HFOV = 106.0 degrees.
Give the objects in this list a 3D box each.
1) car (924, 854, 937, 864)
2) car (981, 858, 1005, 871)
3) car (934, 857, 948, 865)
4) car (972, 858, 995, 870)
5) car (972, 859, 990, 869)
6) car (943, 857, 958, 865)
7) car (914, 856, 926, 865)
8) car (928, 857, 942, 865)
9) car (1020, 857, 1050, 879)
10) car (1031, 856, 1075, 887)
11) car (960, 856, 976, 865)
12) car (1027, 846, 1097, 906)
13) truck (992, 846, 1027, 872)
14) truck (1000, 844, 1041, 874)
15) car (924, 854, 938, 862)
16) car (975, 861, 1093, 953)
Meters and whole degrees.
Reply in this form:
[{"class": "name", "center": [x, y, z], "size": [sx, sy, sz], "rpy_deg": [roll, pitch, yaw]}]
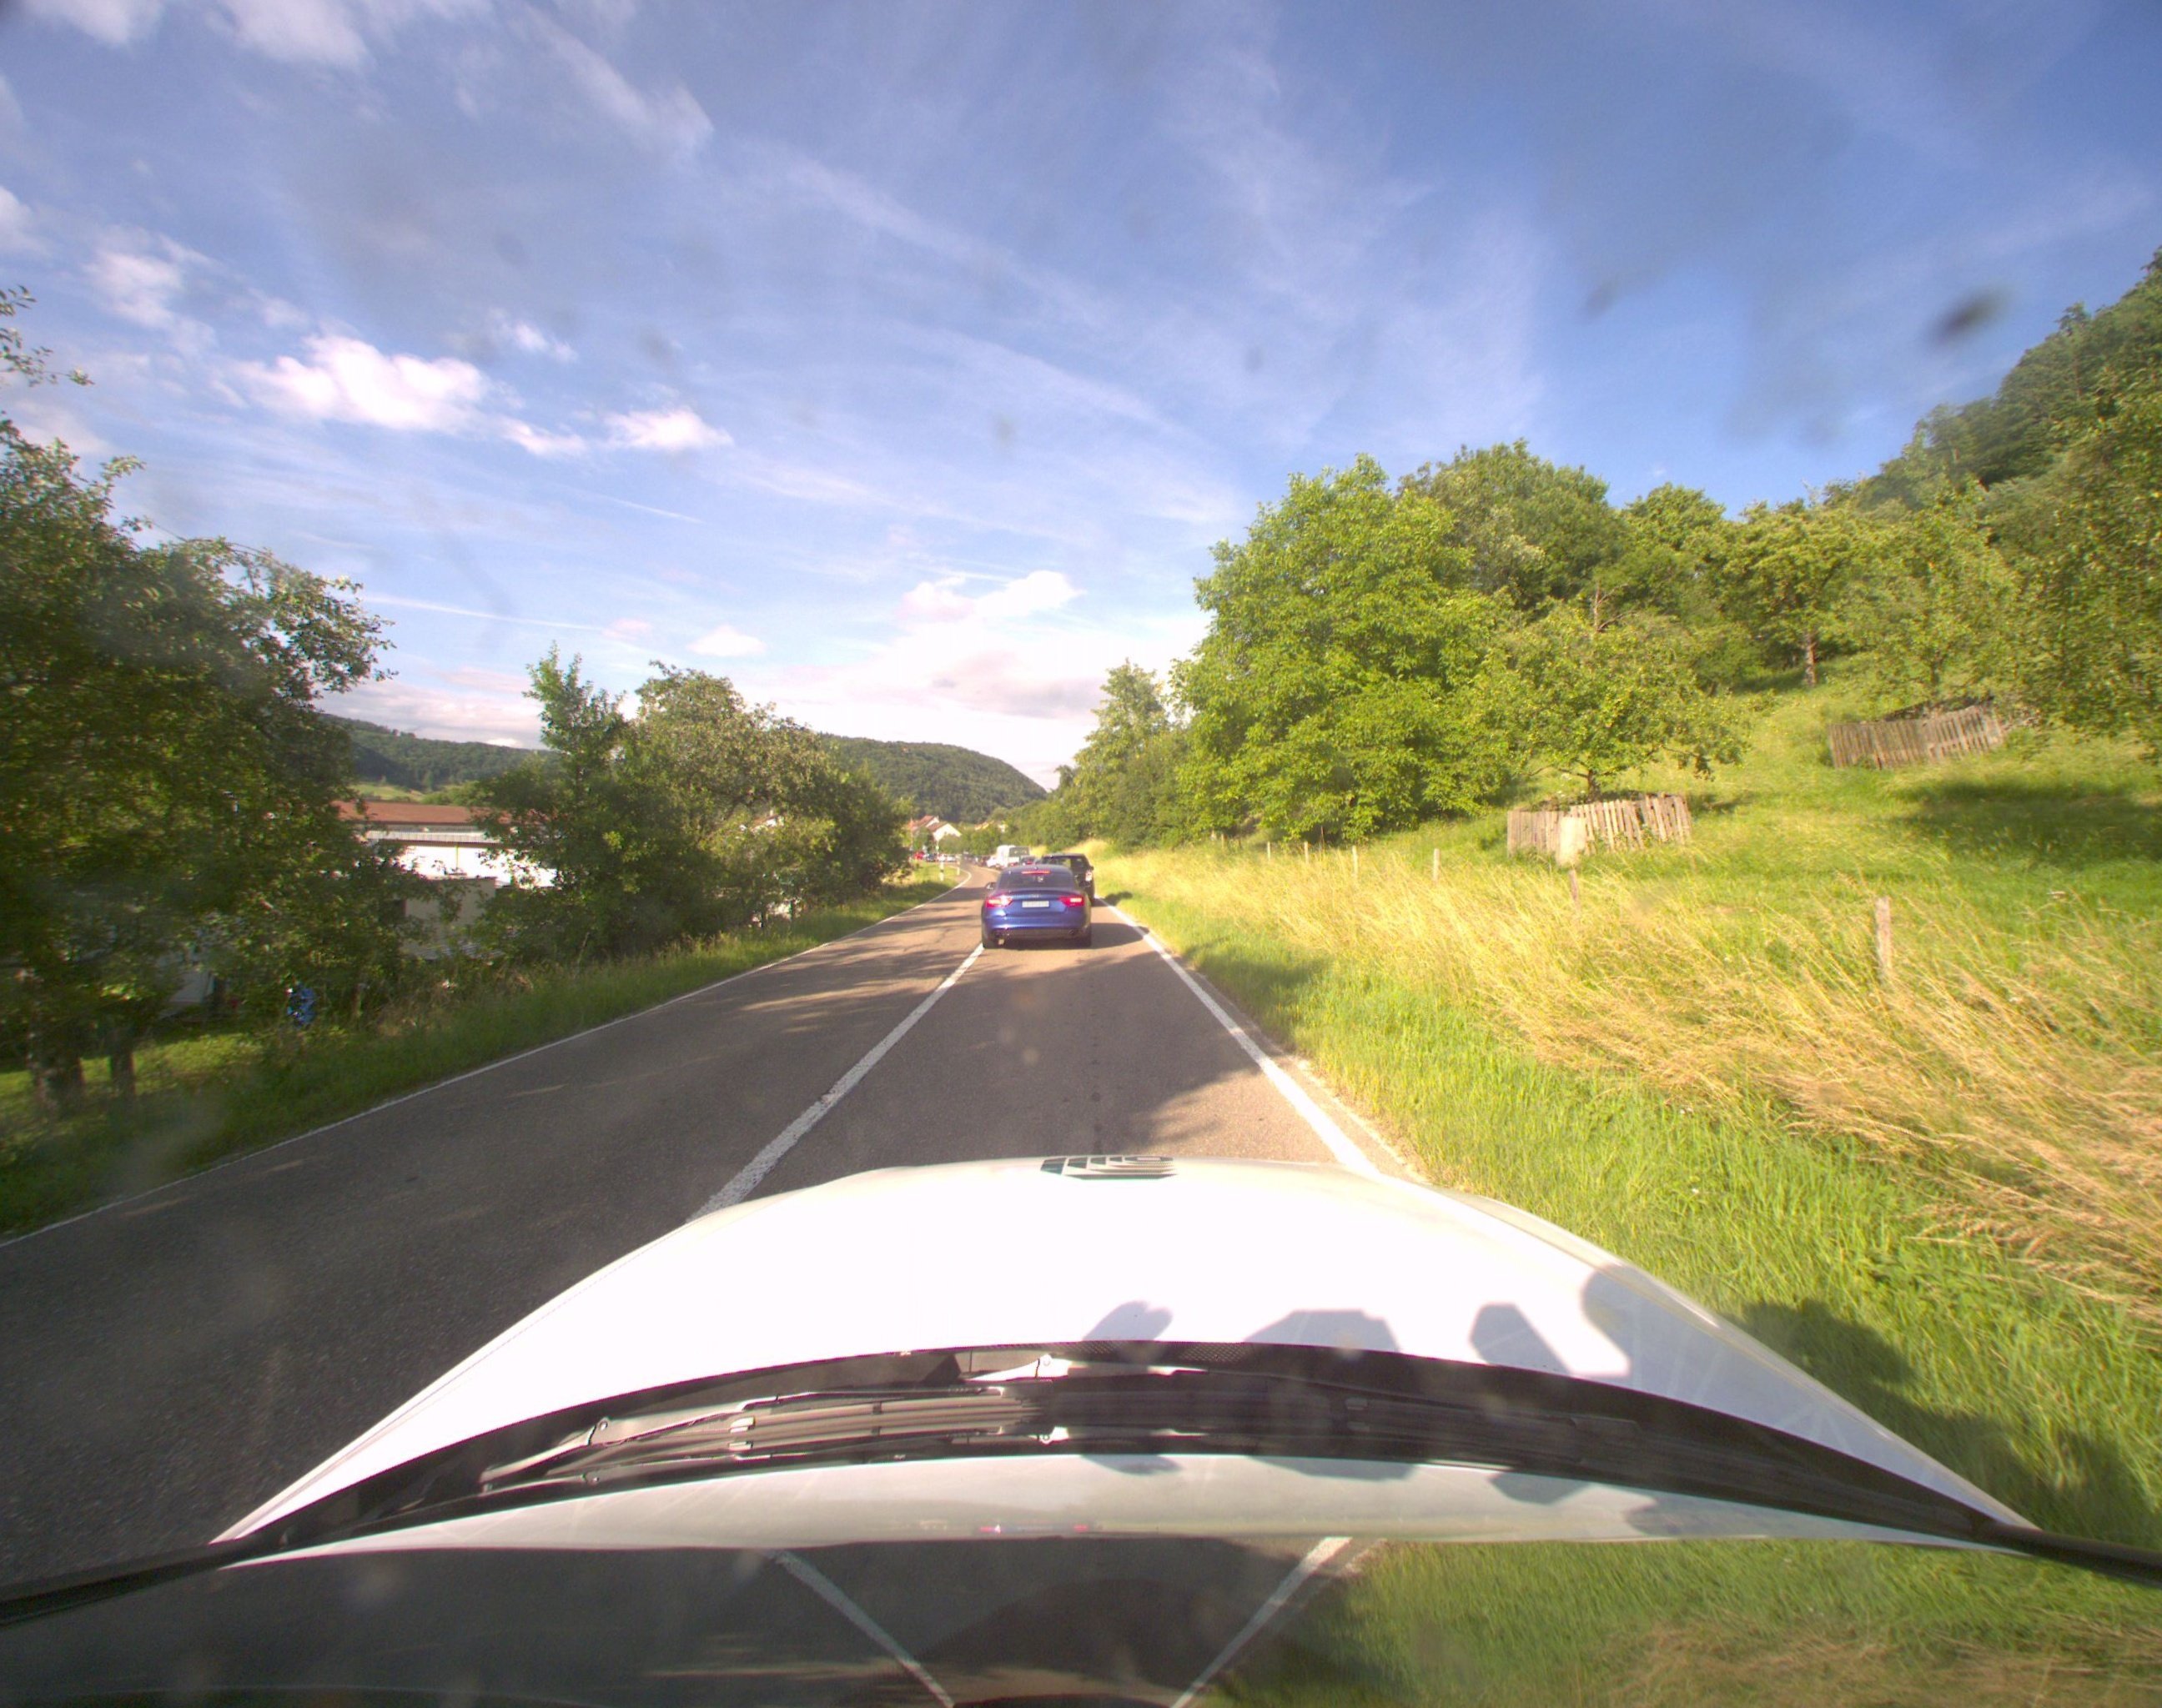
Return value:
[{"class": "car", "center": [-31.937, 1.142, 172.820], "size": [2.001, 2.014, 3.971], "rpy_deg": [0, -1, -21]}, {"class": "car", "center": [-10.721, 1.239, 98.638], "size": [2.000, 1.482, 3.973], "rpy_deg": [0, -1, -20]}, {"class": "car", "center": [-27.191, 1.441, 157.939], "size": [2.002, 1.482, 3.970], "rpy_deg": [0, -1, -22]}, {"class": "car", "center": [-12.687, 1.326, 105.775], "size": [2.000, 1.482, 3.973], "rpy_deg": [0, -1, -20]}, {"class": "car", "center": [-15.024, 1.524, 122.046], "size": [1.998, 1.482, 3.978], "rpy_deg": [0, -1, -16]}, {"class": "car", "center": [-24.084, 1.328, 150.151], "size": [2.002, 1.482, 3.970], "rpy_deg": [0, -1, -22]}, {"class": "car", "center": [-37.170, 1.579, 188.076], "size": [2.001, 2.014, 3.971], "rpy_deg": [0, -1, -21]}, {"class": "car", "center": [-29.436, 1.399, 164.285], "size": [2.002, 1.482, 3.970], "rpy_deg": [0, -1, -22]}, {"class": "car", "center": [-3.219, 0.960, 56.372], "size": [1.990, 1.482, 3.993], "rpy_deg": [-1, -1, -5]}, {"class": "car", "center": [-1.293, 0.812, 39.243], "size": [1.987, 1.387, 3.999], "rpy_deg": [-1, -1, 0]}, {"class": "car", "center": [-18.418, 1.081, 132.566], "size": [1.998, 1.482, 3.978], "rpy_deg": [0, -1, -16]}, {"class": "car", "center": [-0.535, 0.653, 25.408], "size": [1.987, 1.702, 3.999], "rpy_deg": [-1, -1, 0]}, {"class": "truck", "center": [-8.053, 0.520, 90.229], "size": [2.865, 2.665, 10.605], "rpy_deg": [0, 0, -11]}, {"class": "truck", "center": [-6.025, 0.450, 78.927], "size": [2.865, 2.665, 10.354], "rpy_deg": [0, 0, -11]}, {"class": "car", "center": [-28.504, 0.789, 154.704], "size": [1.999, 1.376, 3.975], "rpy_deg": [0, -1, -18]}, {"class": "car", "center": [-0.696, 0.845, 14.647], "size": [1.787, 1.360, 4.001], "rpy_deg": [-1, 0, 1]}]
